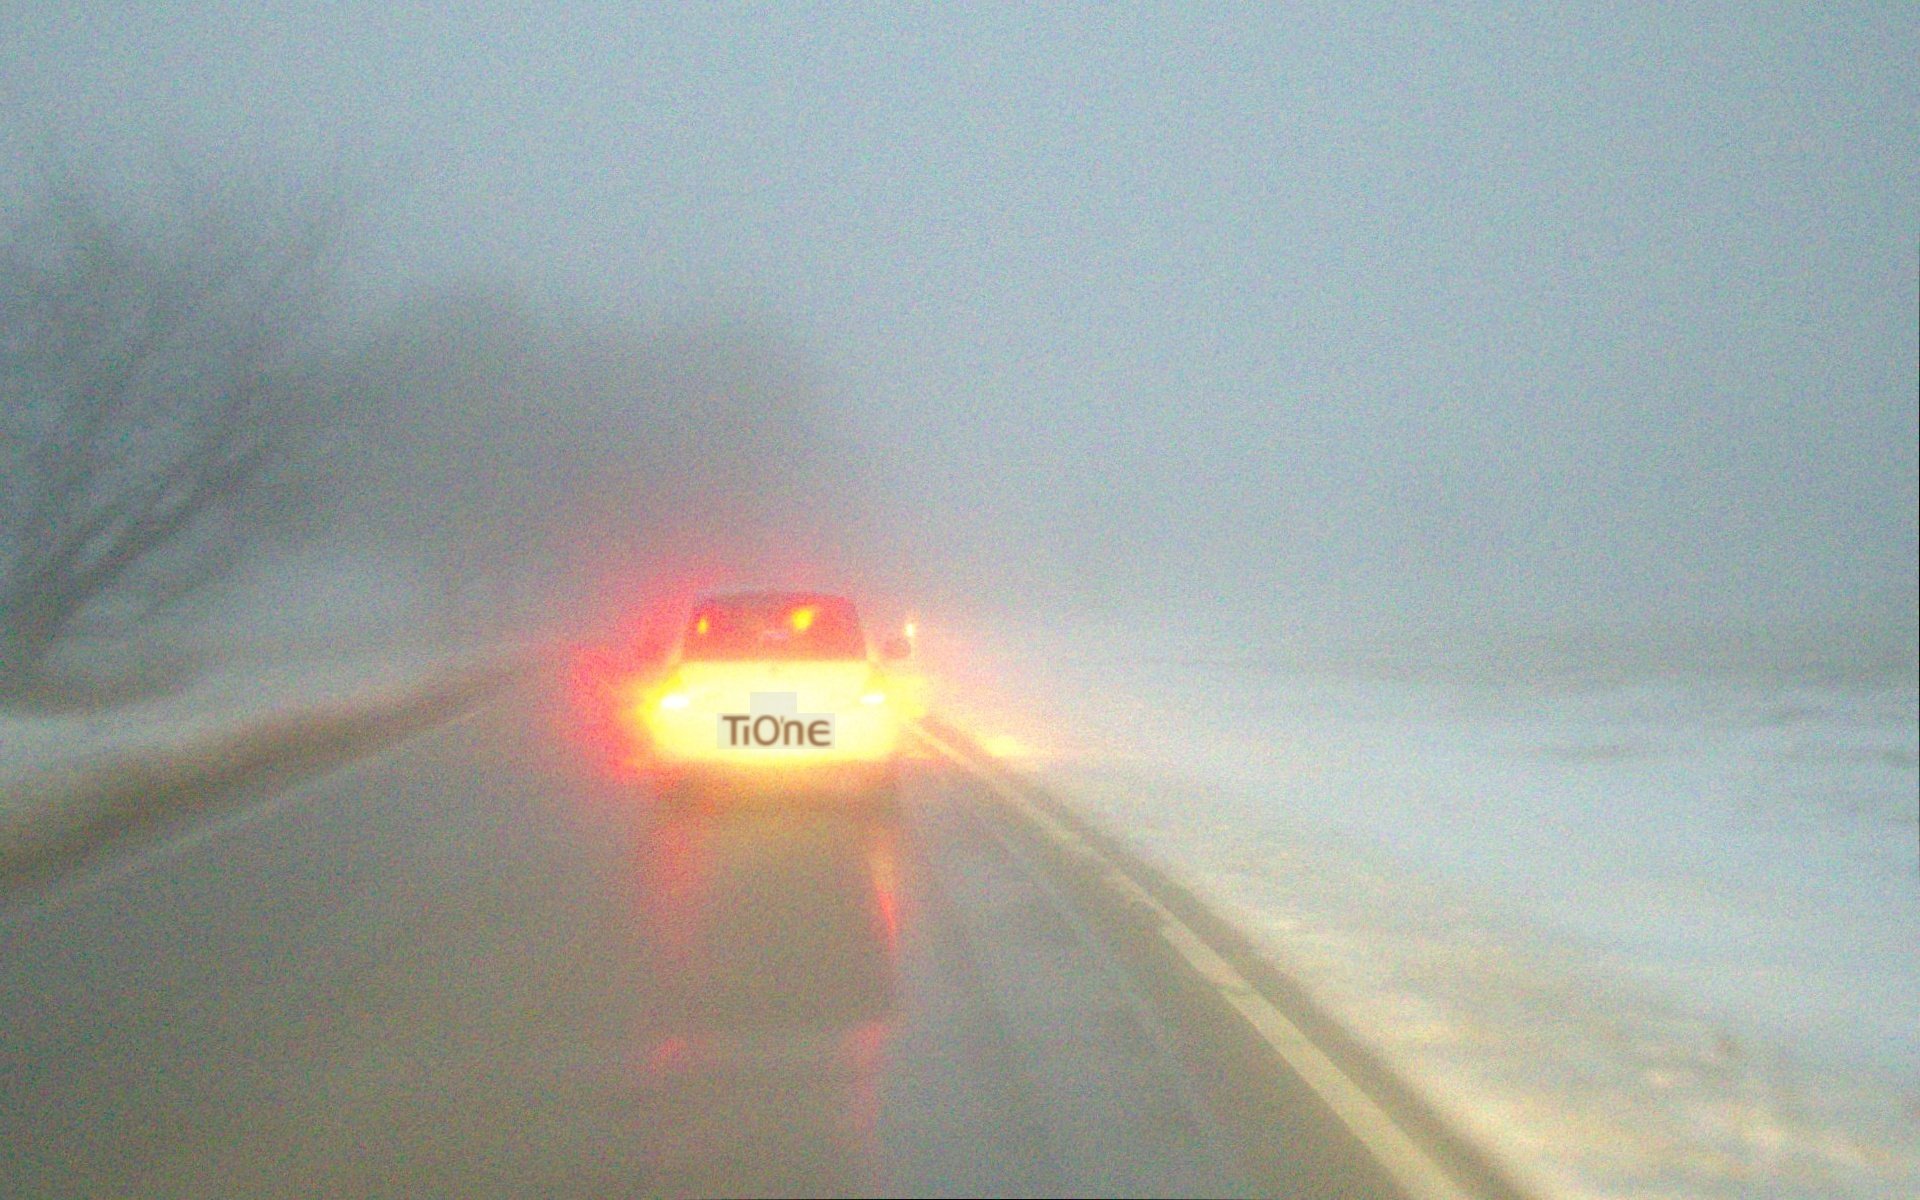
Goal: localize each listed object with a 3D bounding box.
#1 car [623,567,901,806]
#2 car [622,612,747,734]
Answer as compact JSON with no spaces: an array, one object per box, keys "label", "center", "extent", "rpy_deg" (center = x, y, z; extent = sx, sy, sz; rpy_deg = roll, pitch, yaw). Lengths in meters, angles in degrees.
[{"label":"car","center":[-1.388,0.525,23.463],"extent":[1.706,1.458,4.001],"rpy_deg":[1,0,-4]},{"label":"car","center":[-3.611,0.936,45.372],"extent":[1.478,1.503,3.053],"rpy_deg":[-1,0,-2]}]
